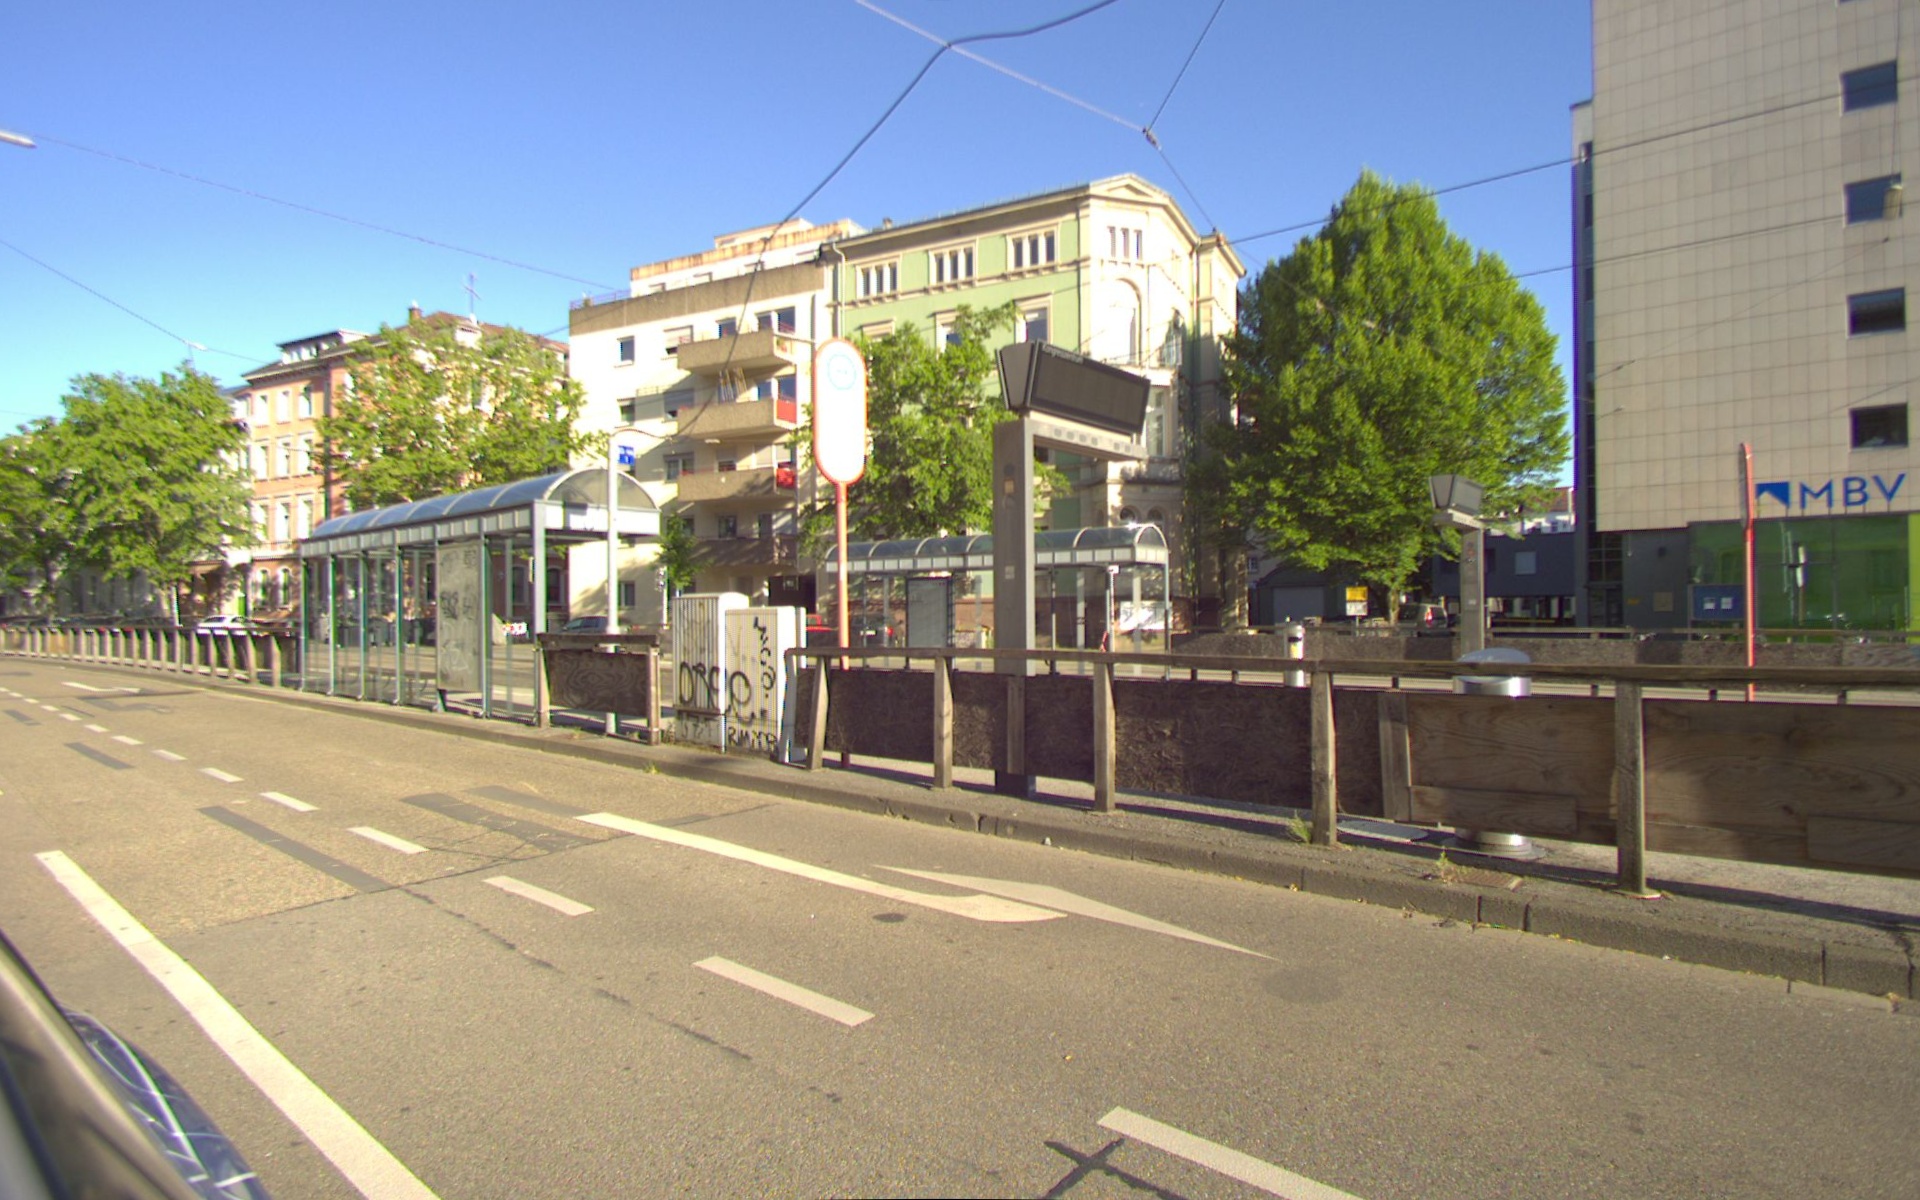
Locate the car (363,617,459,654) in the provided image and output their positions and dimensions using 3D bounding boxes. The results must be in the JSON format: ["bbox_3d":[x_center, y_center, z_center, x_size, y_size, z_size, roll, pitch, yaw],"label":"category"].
[{"bbox_3d":[-23.749,1.510,43.776,3.987,1.541,1.978,-1,-2,32],"label":"car"}]

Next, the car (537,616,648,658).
[{"bbox_3d":[-14.104,1.384,38.802,3.987,1.541,1.978,-1,-2,32],"label":"car"}]

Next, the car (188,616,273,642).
[{"bbox_3d":[-39.053,1.538,54.255,1.565,1.360,3.631,0,-1,11],"label":"car"}]

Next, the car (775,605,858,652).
[{"bbox_3d":[-6.452,1.274,45.865,1.791,2.029,3.963,-1,-1,27],"label":"car"}]
